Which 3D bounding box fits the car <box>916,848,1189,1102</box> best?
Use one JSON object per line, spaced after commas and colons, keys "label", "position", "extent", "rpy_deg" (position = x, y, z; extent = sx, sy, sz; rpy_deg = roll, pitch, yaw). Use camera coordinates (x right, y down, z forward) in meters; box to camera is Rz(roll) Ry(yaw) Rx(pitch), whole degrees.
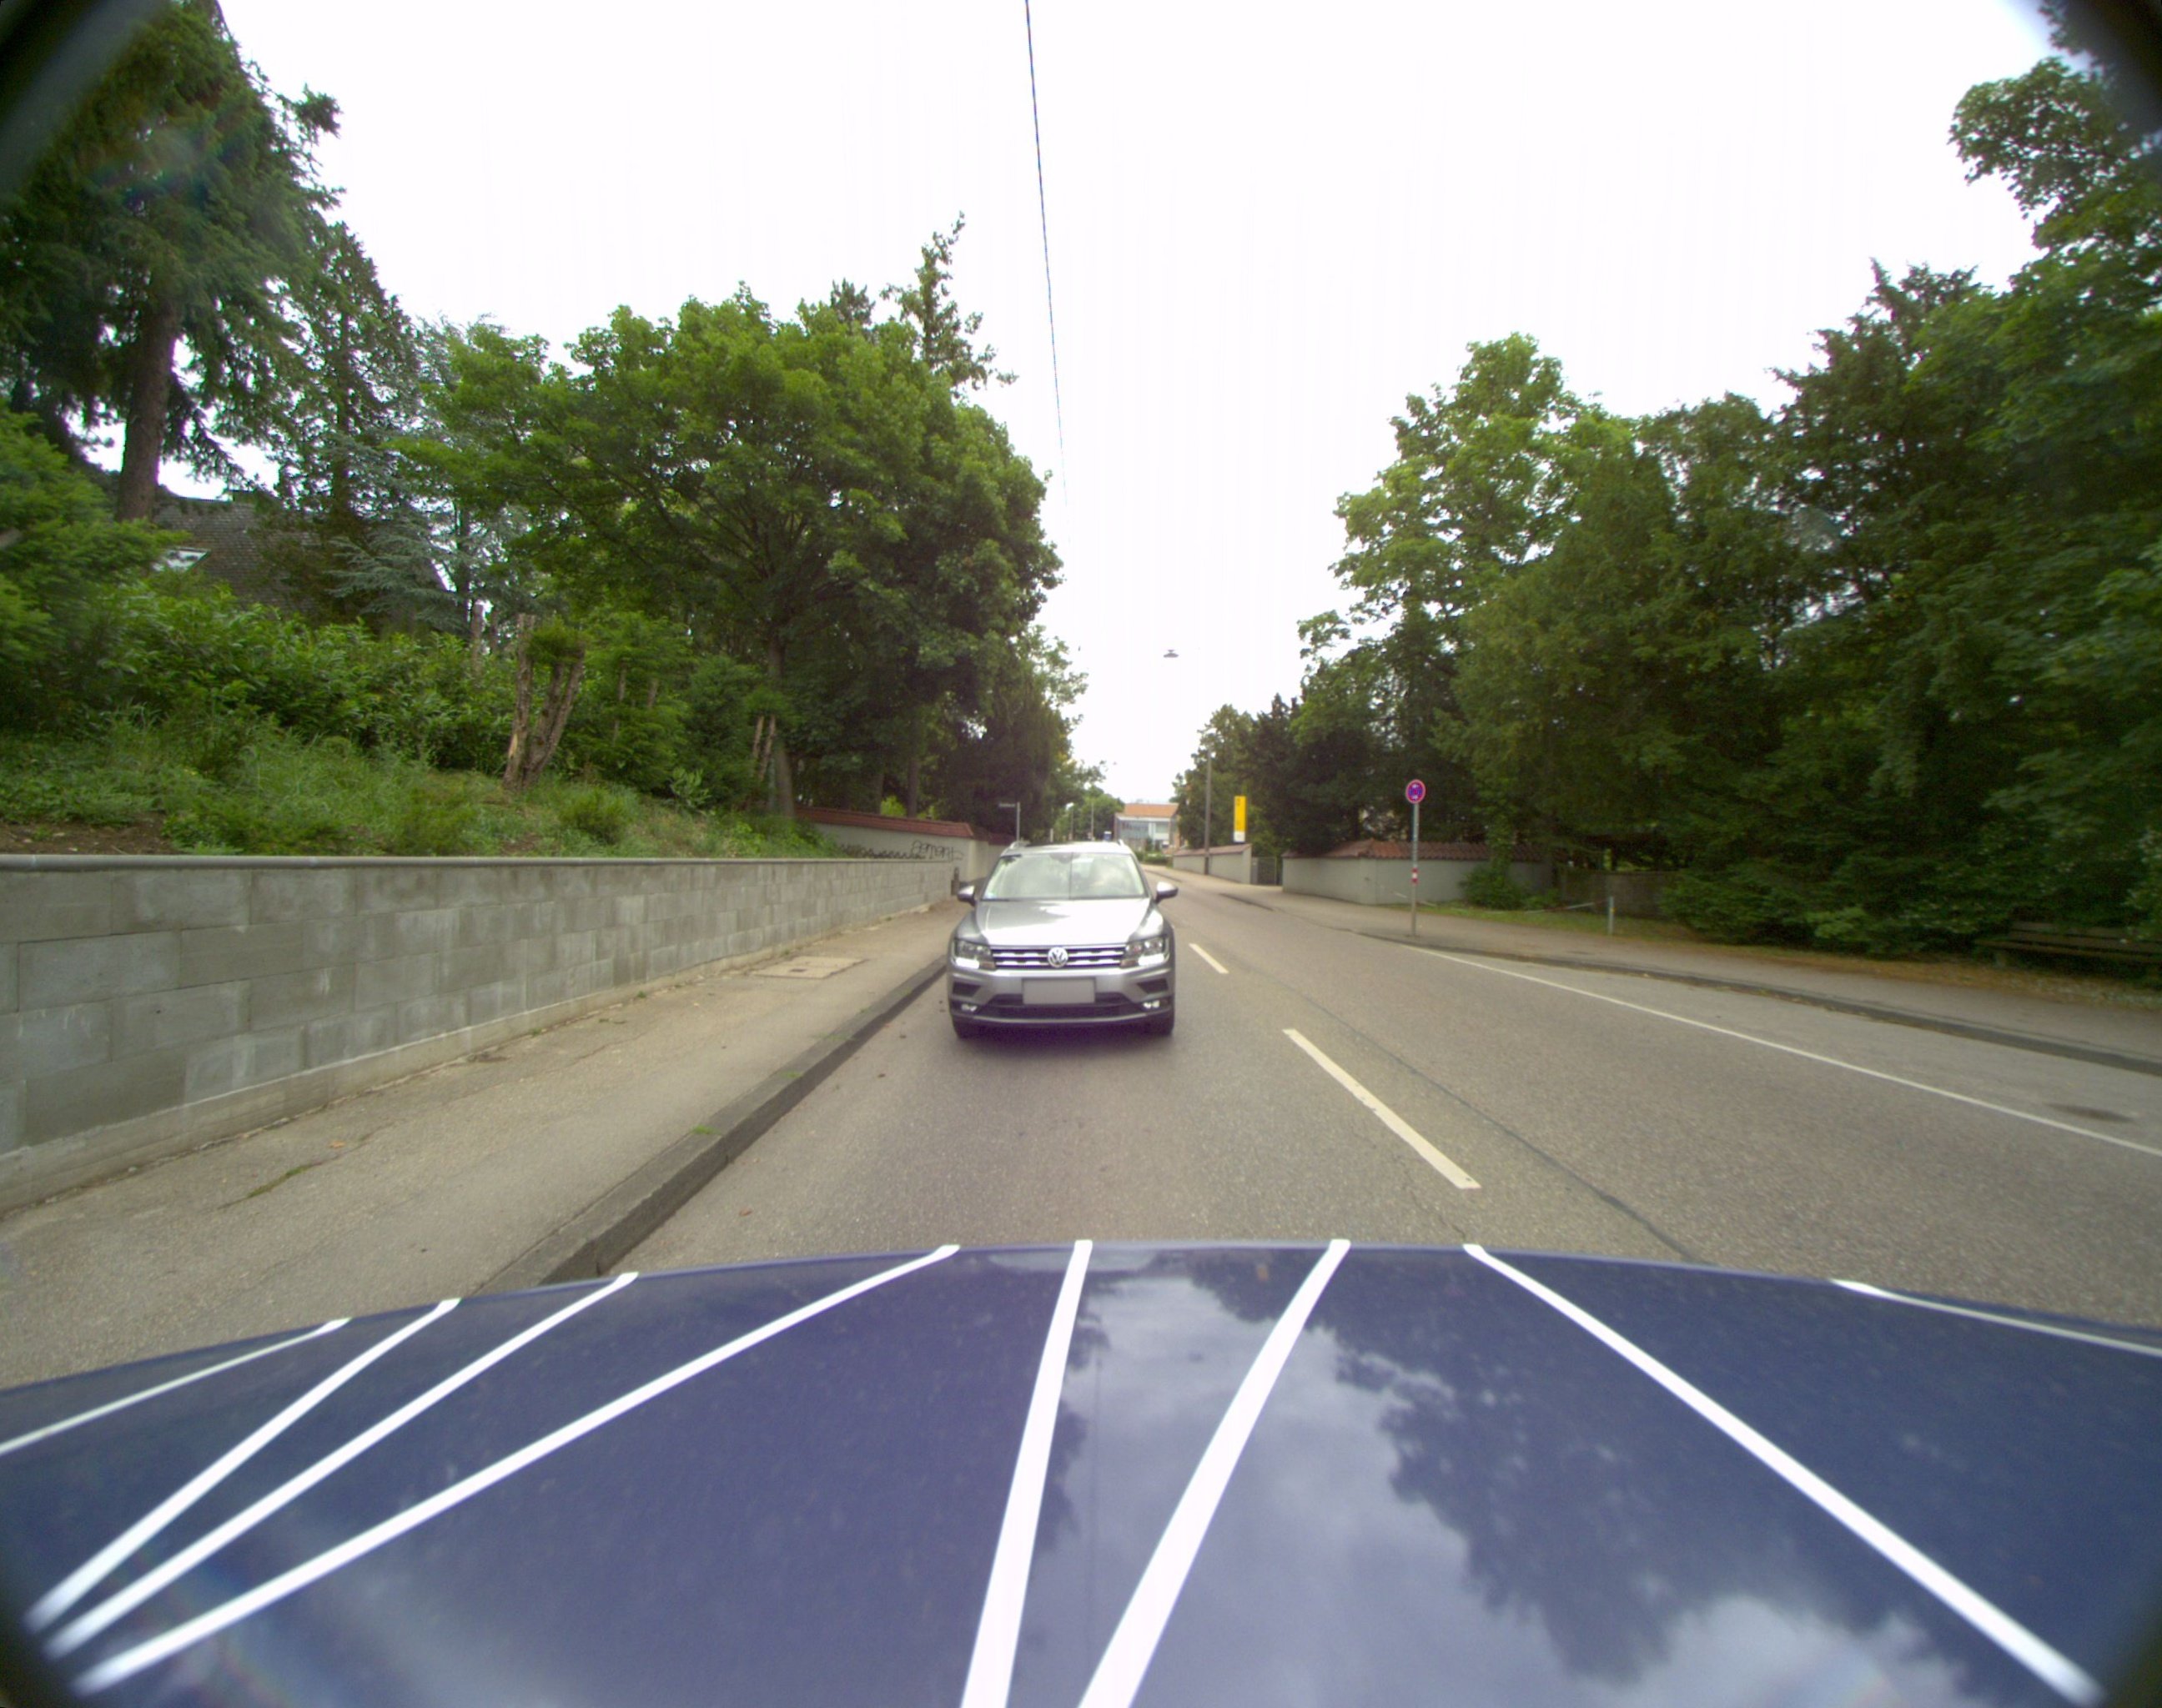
{"label": "car", "position": [-0.181, 0.810, 7.523], "extent": [1.820, 1.690, 4.718], "rpy_deg": [-1, 0, 0]}

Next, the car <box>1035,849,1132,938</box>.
{"label": "car", "position": [0.059, 0.725, 16.468], "extent": [1.820, 1.647, 4.487], "rpy_deg": [0, 1, 0]}

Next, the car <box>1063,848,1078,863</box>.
{"label": "car", "position": [-1.257, 0.187, 93.116], "extent": [1.820, 1.733, 4.487], "rpy_deg": [0, 1, 0]}

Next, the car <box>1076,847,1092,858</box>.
{"label": "car", "position": [0.390, -0.241, 110.109], "extent": [1.878, 1.647, 4.253], "rpy_deg": [0, 1, -5]}
